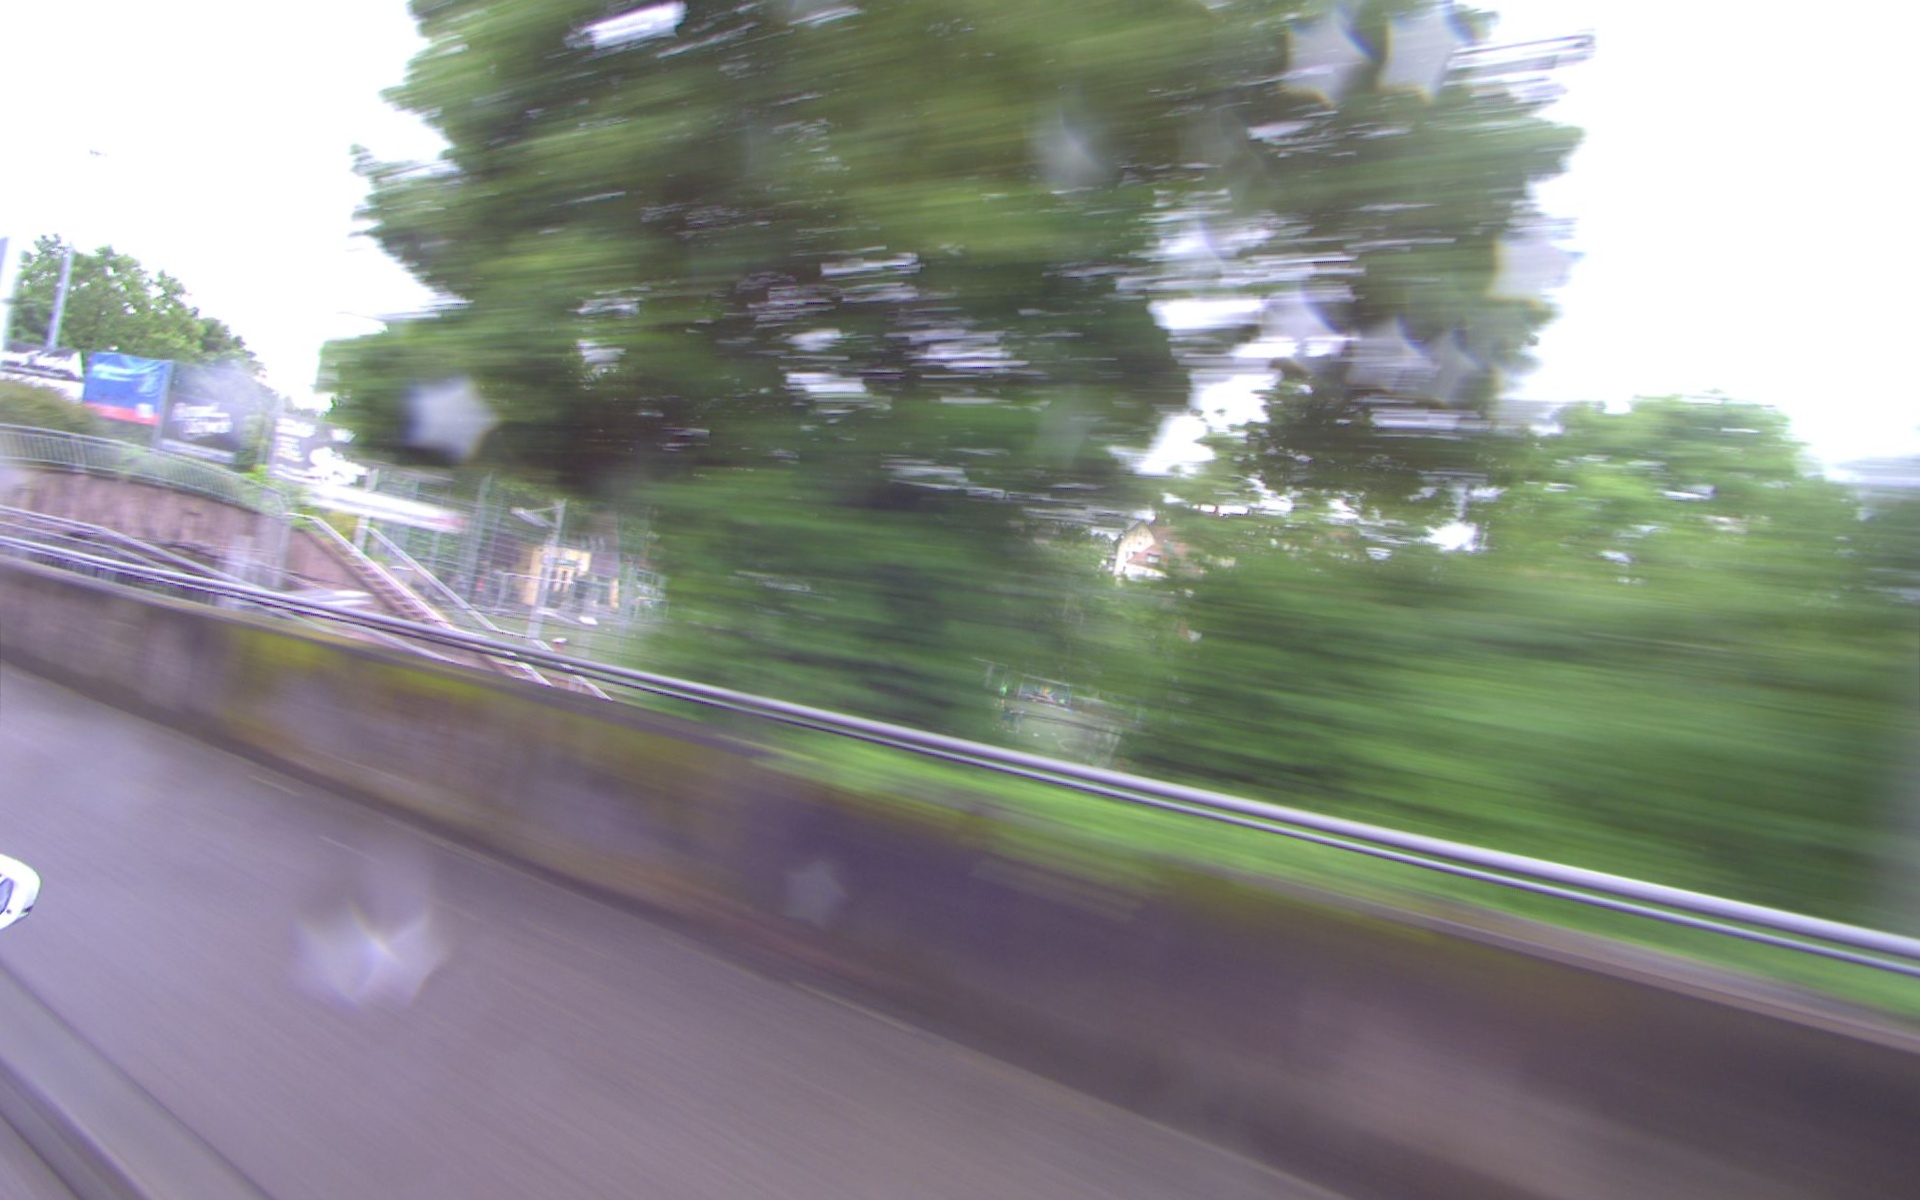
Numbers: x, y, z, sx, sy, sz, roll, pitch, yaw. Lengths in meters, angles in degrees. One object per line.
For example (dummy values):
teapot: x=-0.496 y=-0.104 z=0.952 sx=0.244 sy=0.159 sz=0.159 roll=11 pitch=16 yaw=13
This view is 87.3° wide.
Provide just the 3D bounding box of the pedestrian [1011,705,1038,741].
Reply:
pedestrian: x=3.740 y=7.131 z=58.293 sx=1.021 sy=1.848 sz=0.967 roll=12 pitch=-6 yaw=-19

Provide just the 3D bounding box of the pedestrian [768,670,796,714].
pedestrian: x=-8.305 y=4.269 z=46.853 sx=0.955 sy=1.848 sz=1.034 roll=11 pitch=-6 yaw=-11

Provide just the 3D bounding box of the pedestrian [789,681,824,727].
pedestrian: x=-6.672 y=4.542 z=43.827 sx=0.848 sy=1.848 sz=1.038 roll=8 pitch=-6 yaw=15

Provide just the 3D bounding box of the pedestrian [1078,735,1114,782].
pedestrian: x=6.031 y=7.037 z=44.664 sx=1.017 sy=1.848 sz=0.971 roll=7 pitch=-6 yaw=31
